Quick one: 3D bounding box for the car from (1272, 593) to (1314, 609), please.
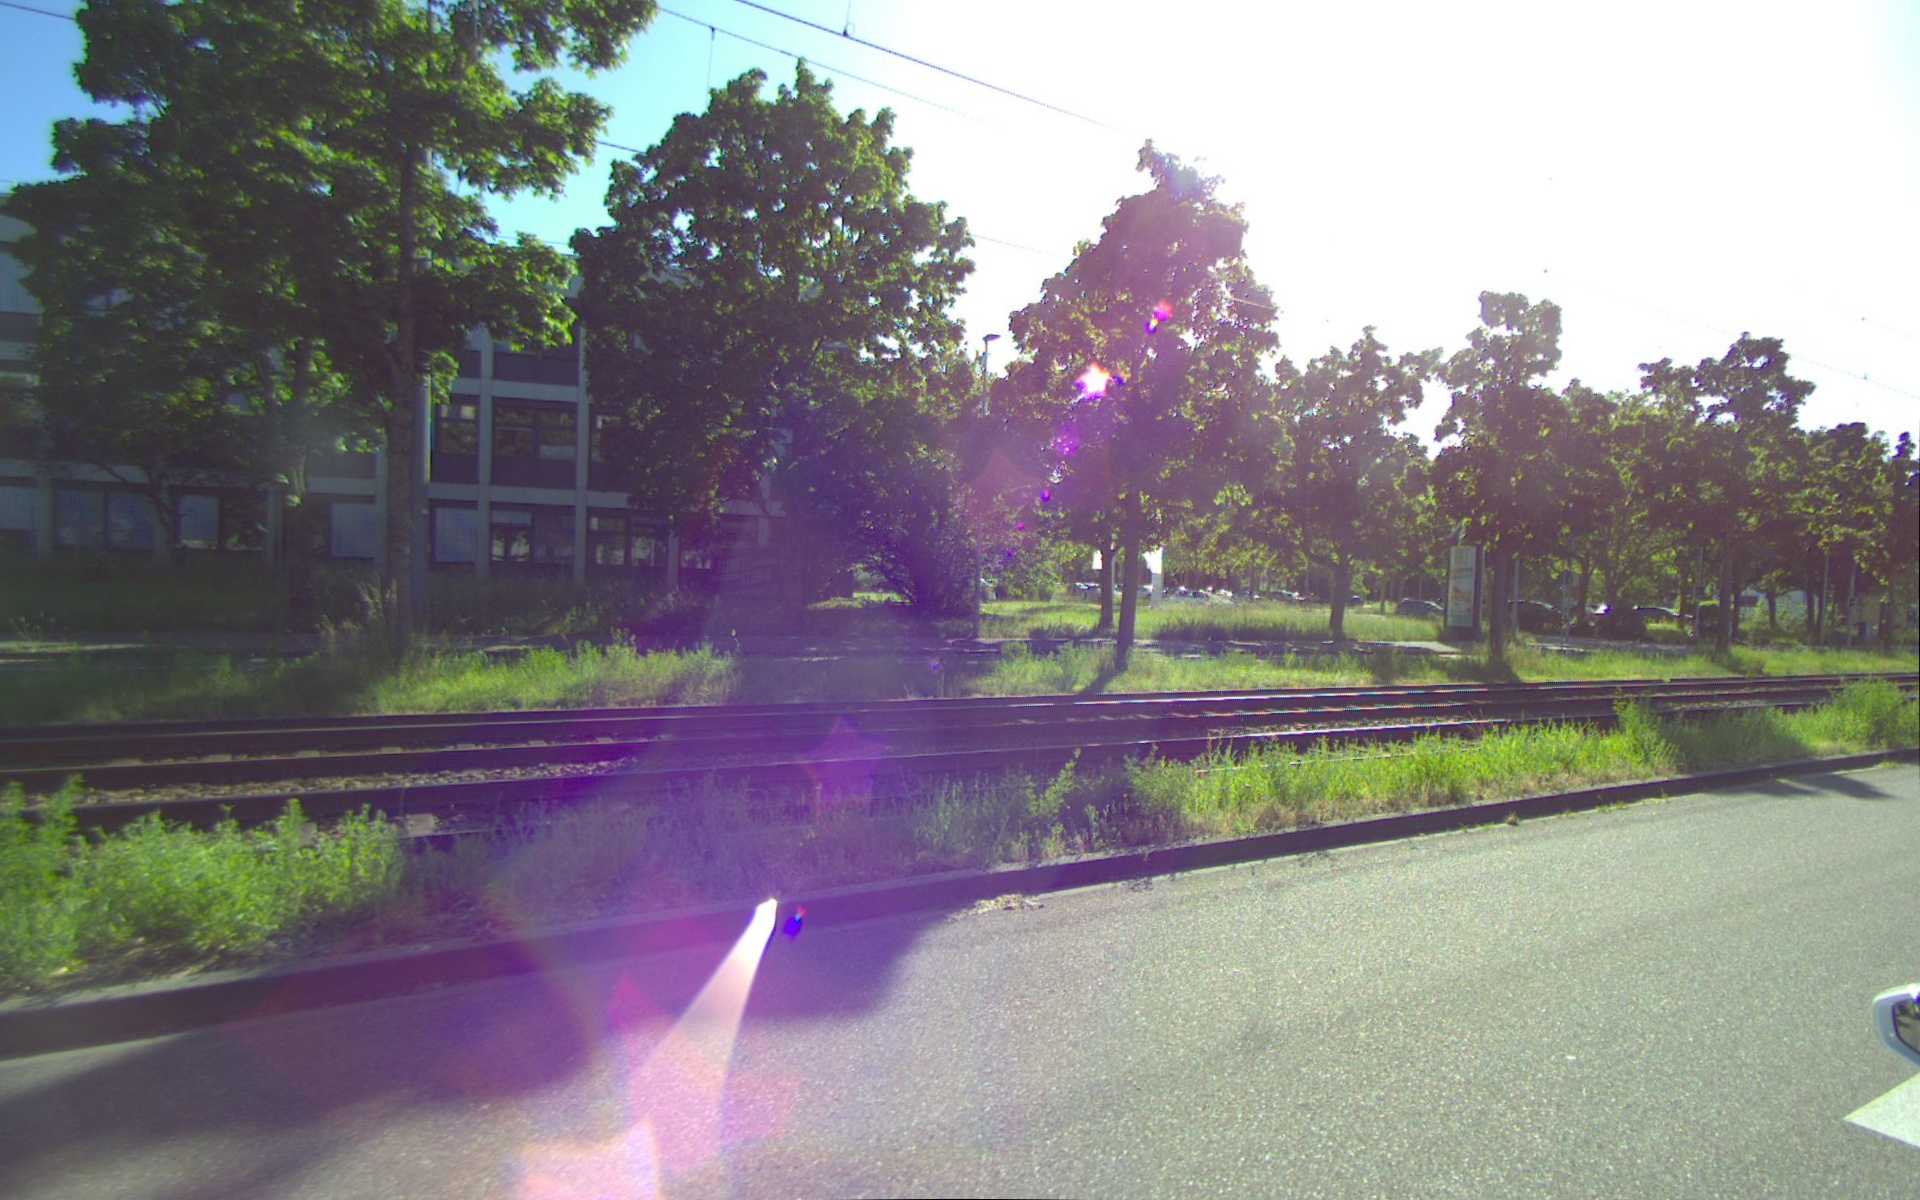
[{"bbox_3d":[35.001,0.087,105.595,1.729,1.468,3.937,1,2,-35],"label":"car"}]

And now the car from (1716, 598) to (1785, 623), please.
[{"bbox_3d":[75.005,0.988,95.360,1.999,2.119,4.695,1,1,-32],"label":"car"}]

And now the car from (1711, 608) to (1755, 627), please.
[{"bbox_3d":[69.437,1.559,90.185,4.038,1.565,1.571,2,2,-28],"label":"car"}]

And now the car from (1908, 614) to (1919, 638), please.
[{"bbox_3d":[85.439,2.346,86.853,4.689,2.000,1.862,2,1,10],"label":"car"}]

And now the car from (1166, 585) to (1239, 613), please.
[{"bbox_3d":[16.322,-0.062,67.667,4.363,1.662,1.981,3,1,39],"label":"car"}]
